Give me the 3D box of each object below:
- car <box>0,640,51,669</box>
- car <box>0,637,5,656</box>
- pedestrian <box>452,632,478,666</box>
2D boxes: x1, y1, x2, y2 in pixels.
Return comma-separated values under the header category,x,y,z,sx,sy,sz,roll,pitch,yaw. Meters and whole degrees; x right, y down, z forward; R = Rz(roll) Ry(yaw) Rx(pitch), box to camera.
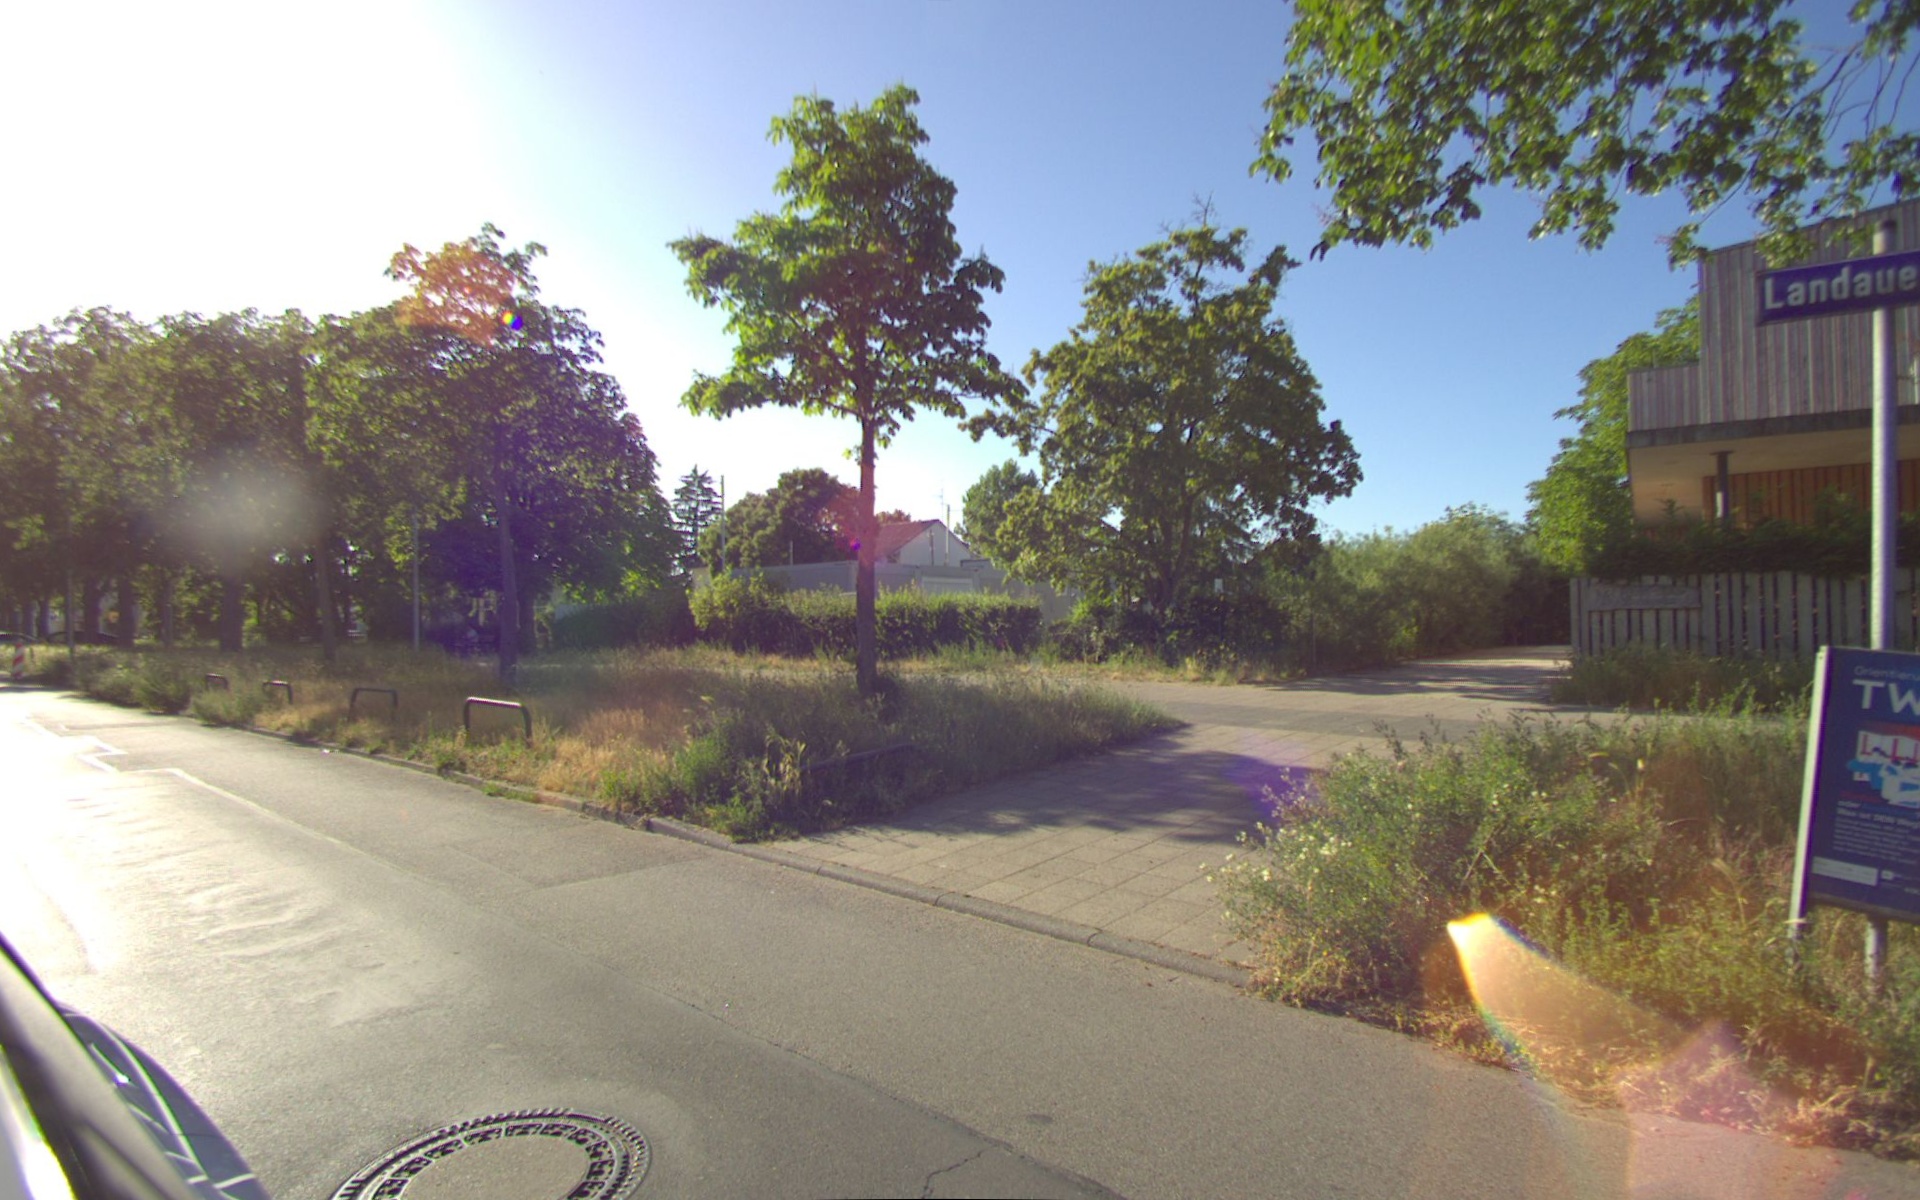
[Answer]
category,x,y,z,sx,sy,sz,roll,pitch,yaw
car,-55.894,3.210,59.001,2.000,1.573,4.148,-2,-1,42
car,-89.189,4.299,91.497,1.890,1.763,3.945,-2,-1,41
pedestrian,-18.005,1.769,36.807,0.521,1.166,0.631,-2,1,41
